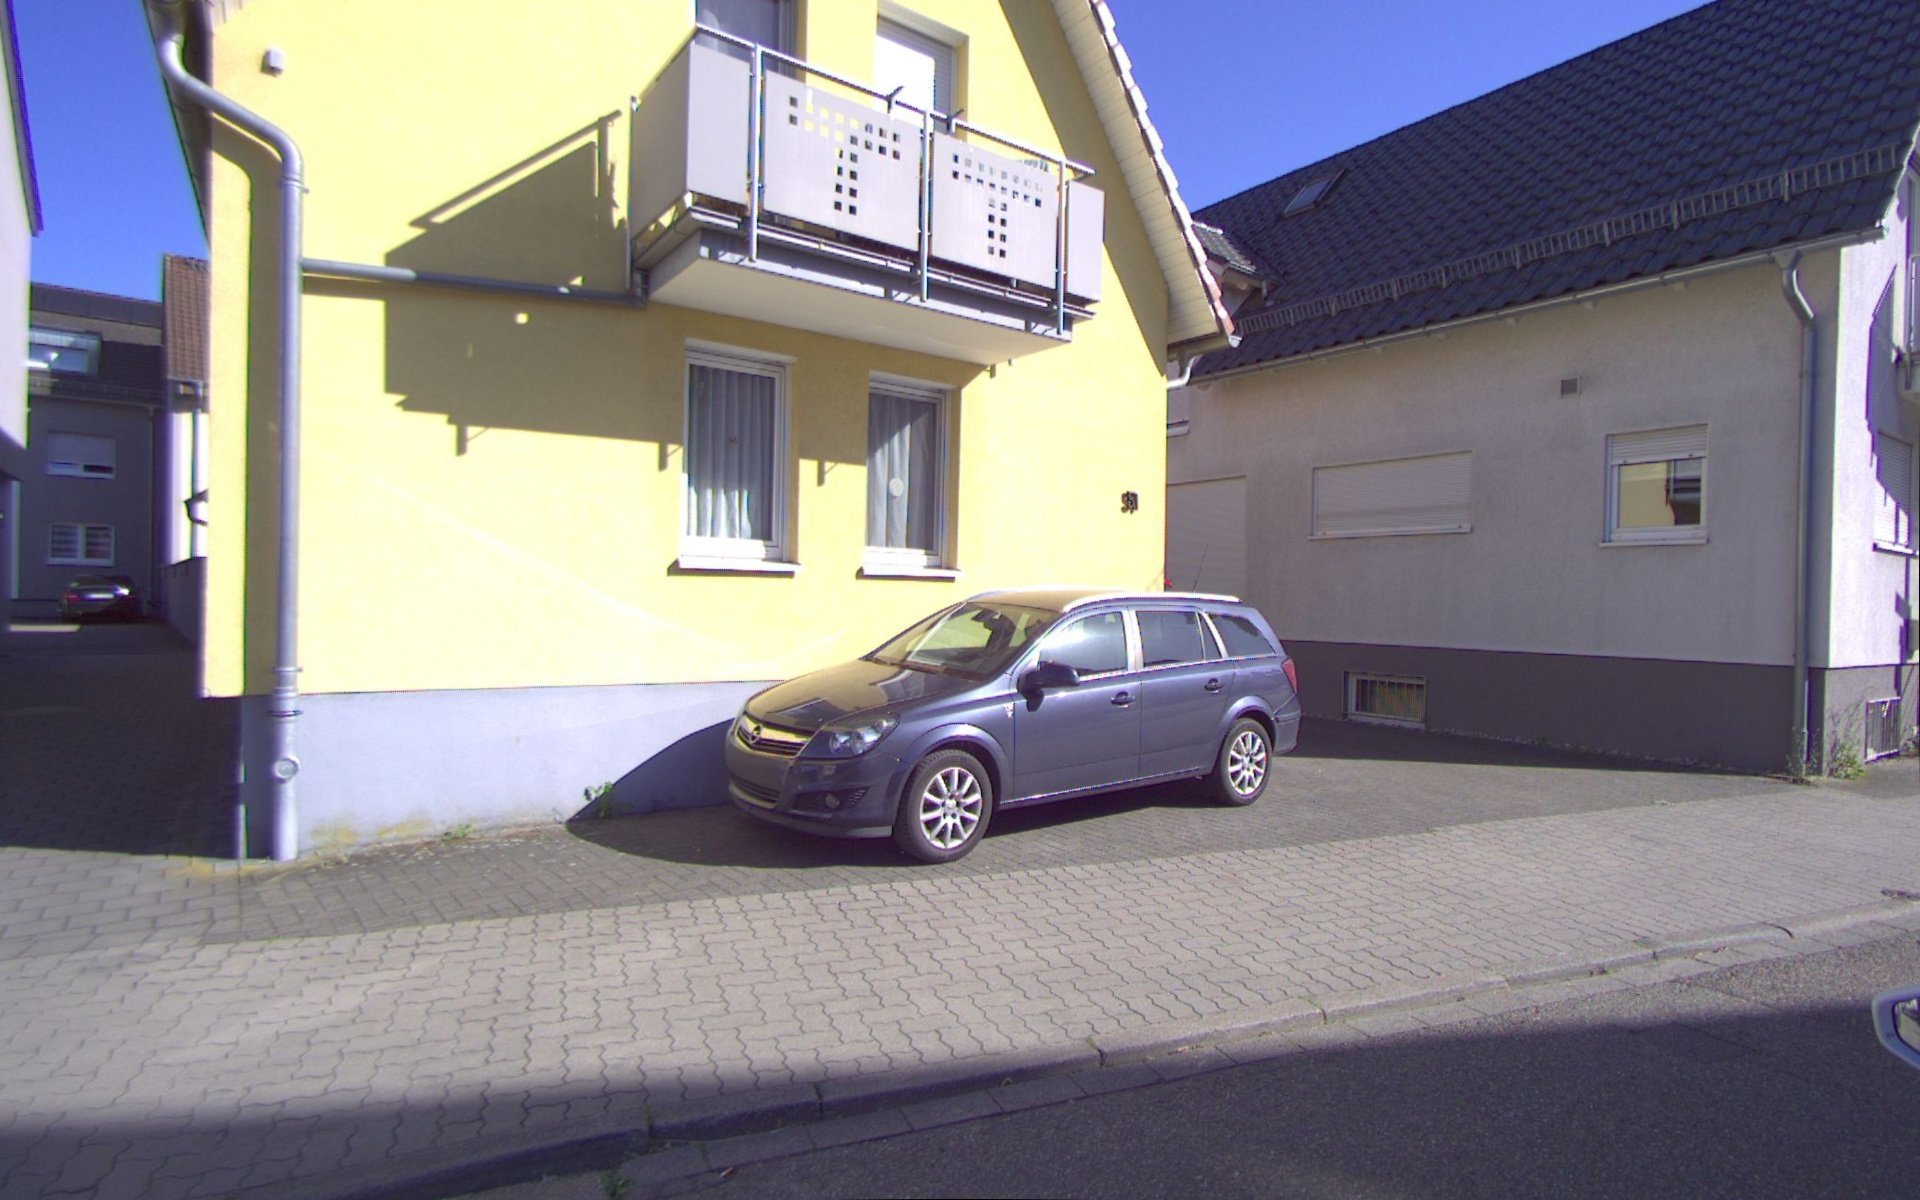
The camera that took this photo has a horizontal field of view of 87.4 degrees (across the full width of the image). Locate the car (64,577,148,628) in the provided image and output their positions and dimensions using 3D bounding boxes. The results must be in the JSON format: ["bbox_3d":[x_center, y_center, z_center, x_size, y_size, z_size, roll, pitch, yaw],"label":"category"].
[{"bbox_3d":[-24.839,0.087,29.297,1.656,1.412,3.405,1,-1,-37],"label":"car"}]

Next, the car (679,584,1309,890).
[{"bbox_3d":[0.412,0.679,6.799,4.138,1.464,1.676,1,1,-37],"label":"car"}]
